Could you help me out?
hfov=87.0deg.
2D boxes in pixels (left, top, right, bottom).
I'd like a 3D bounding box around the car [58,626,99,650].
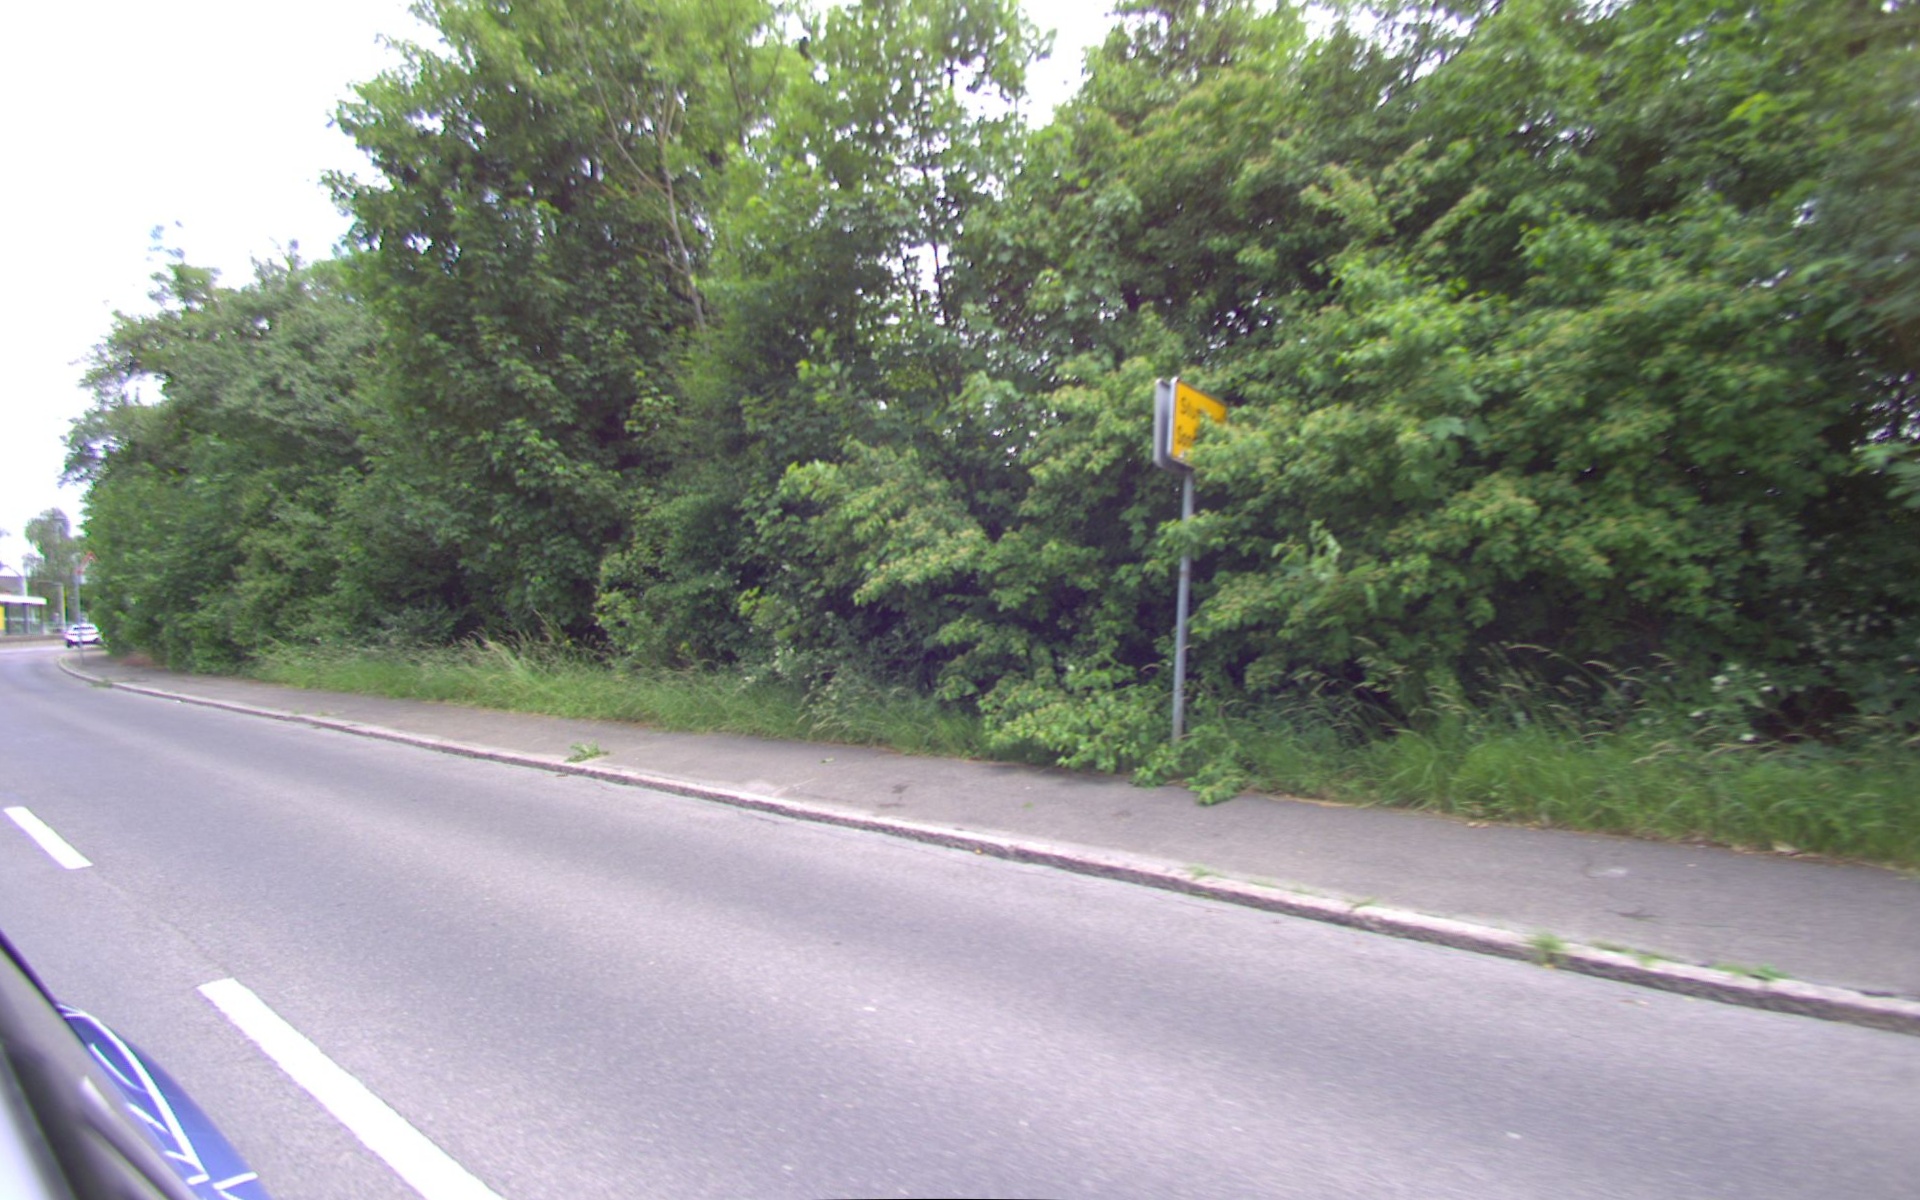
[{"bbox_3d":[-57.547,2.458,66.141,1.905,1.533,4.666,1,-2,-40],"label":"car"}]
